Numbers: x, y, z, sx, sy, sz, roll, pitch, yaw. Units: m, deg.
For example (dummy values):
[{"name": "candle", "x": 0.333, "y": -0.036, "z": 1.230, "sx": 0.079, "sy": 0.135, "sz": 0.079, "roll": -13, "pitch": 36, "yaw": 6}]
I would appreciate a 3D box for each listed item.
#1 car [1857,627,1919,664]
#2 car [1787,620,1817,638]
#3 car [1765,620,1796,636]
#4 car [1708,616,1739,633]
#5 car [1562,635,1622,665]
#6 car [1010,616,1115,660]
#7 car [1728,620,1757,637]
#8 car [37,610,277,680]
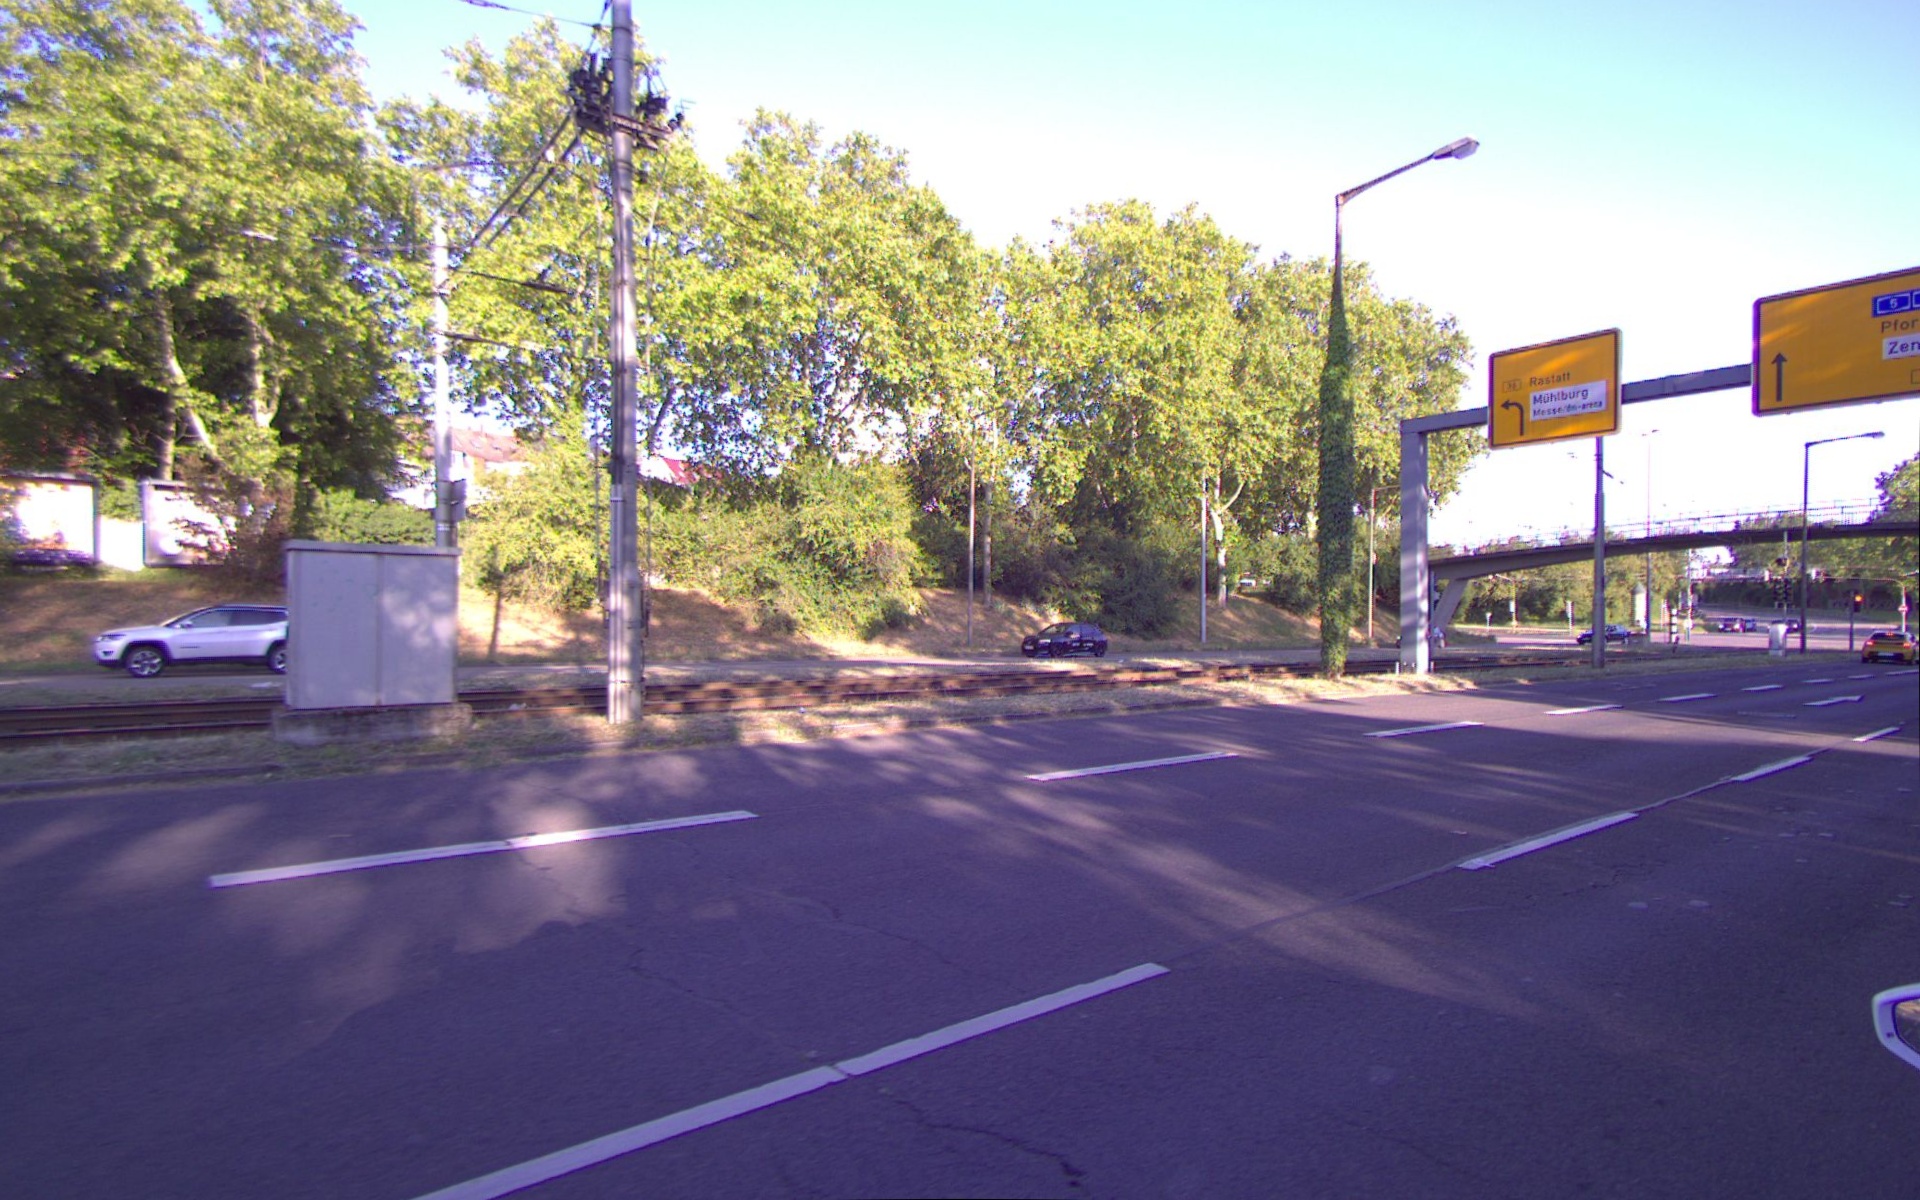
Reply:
[{"name": "car", "x": 41.729, "y": 2.013, "z": 45.013, "sx": 3.966, "sy": 1.586, "sz": 1.650, "roll": 1, "pitch": -2, "yaw": -39}, {"name": "car", "x": 93.362, "y": 3.195, "z": 111.393, "sx": 3.968, "sy": 1.795, "sz": 1.862, "roll": 1, "pitch": 1, "yaw": -40}, {"name": "car", "x": 88.235, "y": 2.959, "z": 108.004, "sx": 3.645, "sy": 1.596, "sz": 1.862, "roll": 1, "pitch": 1, "yaw": -40}, {"name": "car", "x": 83.352, "y": 2.654, "z": 109.624, "sx": 3.968, "sy": 1.795, "sz": 1.862, "roll": 1, "pitch": 1, "yaw": -40}, {"name": "car", "x": 45.351, "y": 3.574, "z": 72.011, "sx": 4.463, "sy": 2.040, "sz": 1.909, "roll": 1, "pitch": -2, "yaw": -33}, {"name": "car", "x": 4.293, "y": 1.564, "z": 41.638, "sx": 4.153, "sy": 1.703, "sz": 1.979, "roll": 1, "pitch": -2, "yaw": -38}, {"name": "car", "x": 89.342, "y": 3.241, "z": 114.651, "sx": 3.968, "sy": 1.795, "sz": 1.862, "roll": 1, "pitch": 1, "yaw": -40}, {"name": "car", "x": -18.339, "y": 1.012, "z": 23.165, "sx": 4.153, "sy": 1.459, "sz": 1.979, "roll": 1, "pitch": -2, "yaw": -38}]
